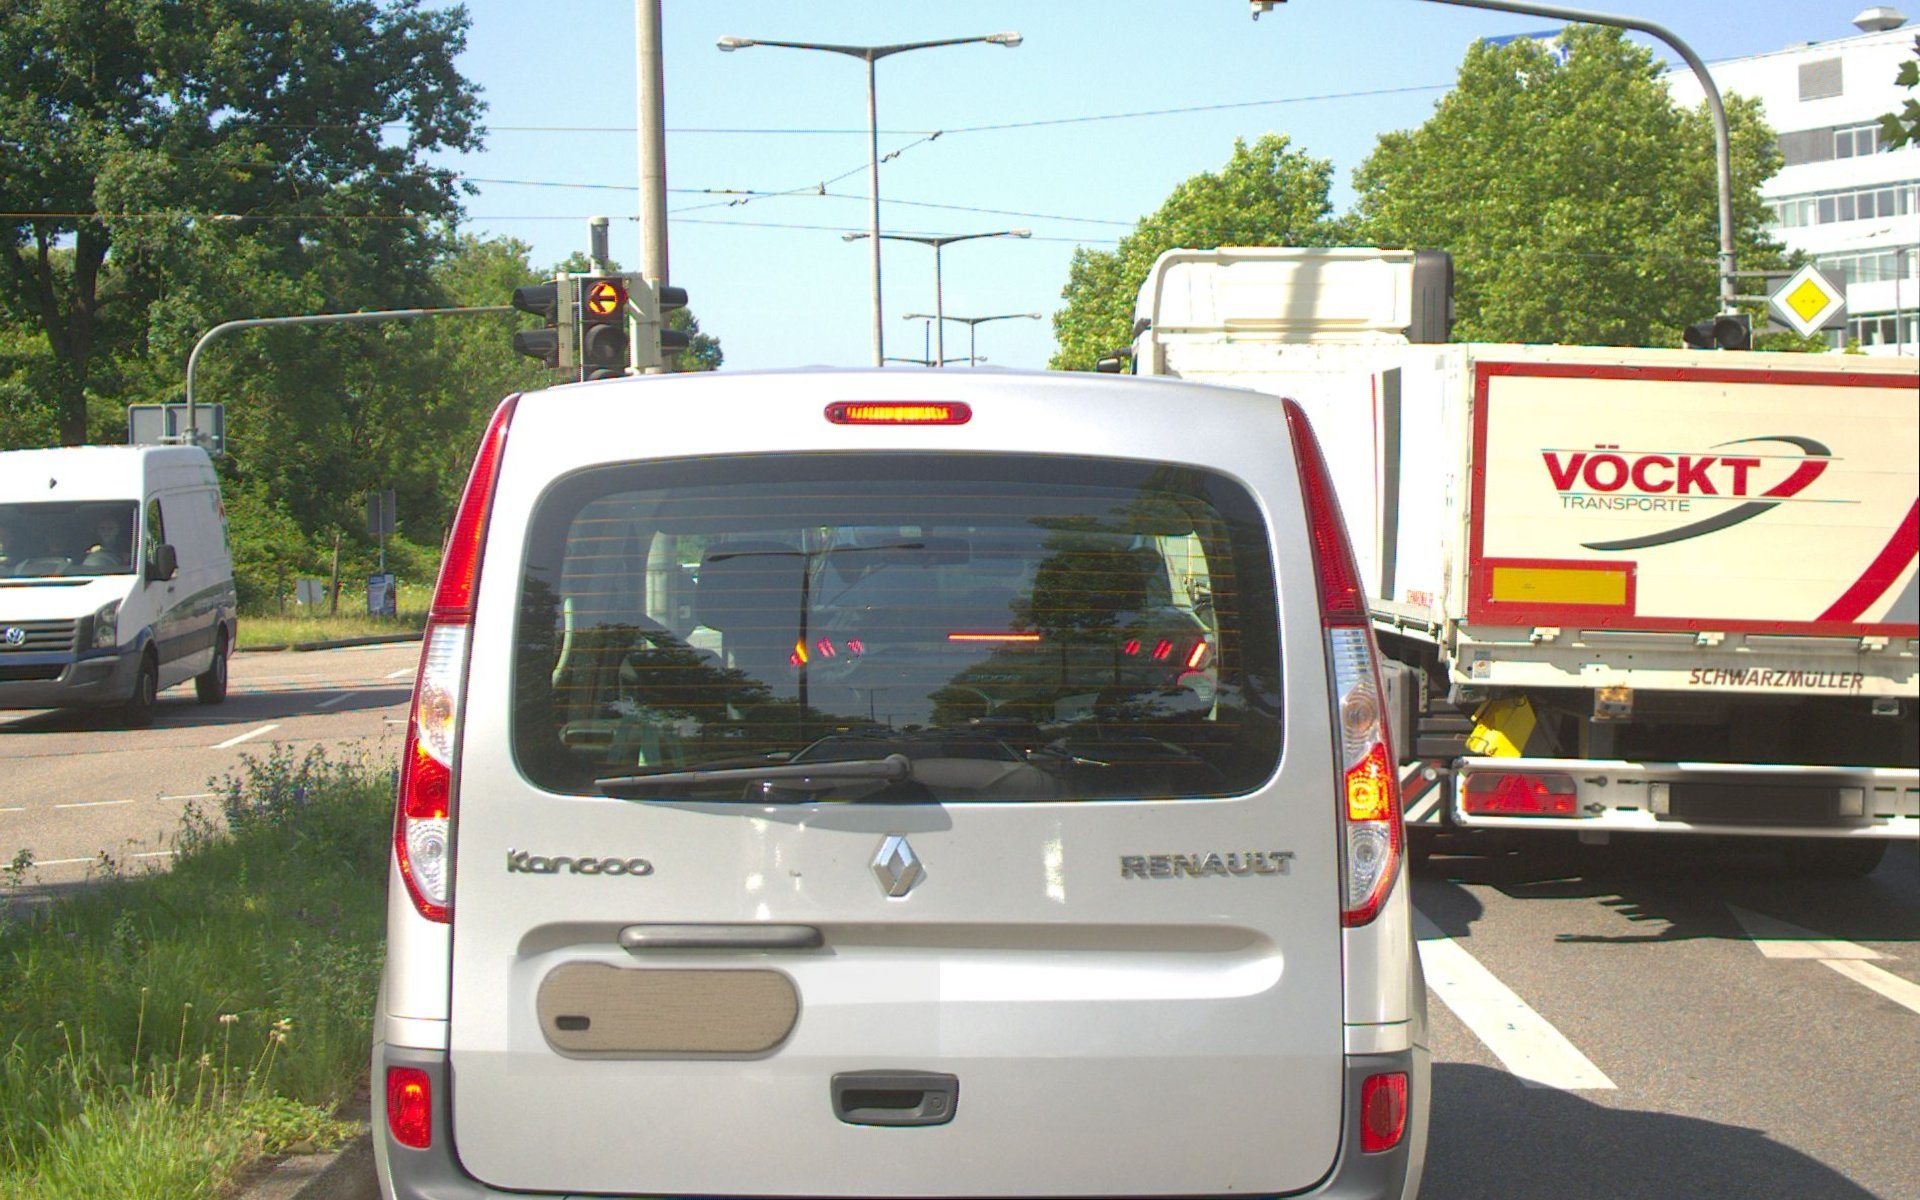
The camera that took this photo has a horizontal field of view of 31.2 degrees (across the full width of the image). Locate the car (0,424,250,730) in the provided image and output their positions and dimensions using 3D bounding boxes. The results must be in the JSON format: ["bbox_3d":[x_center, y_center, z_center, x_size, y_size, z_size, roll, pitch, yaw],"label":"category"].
[{"bbox_3d":[-8.432,-0.229,33.028,1.993,2.653,5.787,-2,1,-1],"label":"car"}]

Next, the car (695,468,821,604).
[{"bbox_3d":[-4.046,-1.272,69.706,1.994,2.598,5.133,-1,0,2],"label":"car"}]

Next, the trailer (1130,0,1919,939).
[{"bbox_3d":[2.949,-0.661,18.651,2.900,3.610,12.687,1,1,-2],"label":"trailer"}]

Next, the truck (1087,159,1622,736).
[{"bbox_3d":[2.645,-1.004,25.472,2.910,3.630,7.190,1,1,-1],"label":"truck"}]

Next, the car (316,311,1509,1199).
[{"bbox_3d":[-0.098,0.472,7.209,1.786,1.831,4.000,1,1,-1],"label":"car"}]

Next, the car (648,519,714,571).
[{"bbox_3d":[-8.609,-1.718,106.317,1.699,1.503,4.000,-1,2,-1],"label":"car"}]

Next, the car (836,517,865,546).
[{"bbox_3d":[-7.993,-4.997,250.834,1.888,2.007,4.000,1,1,2],"label":"car"}]
